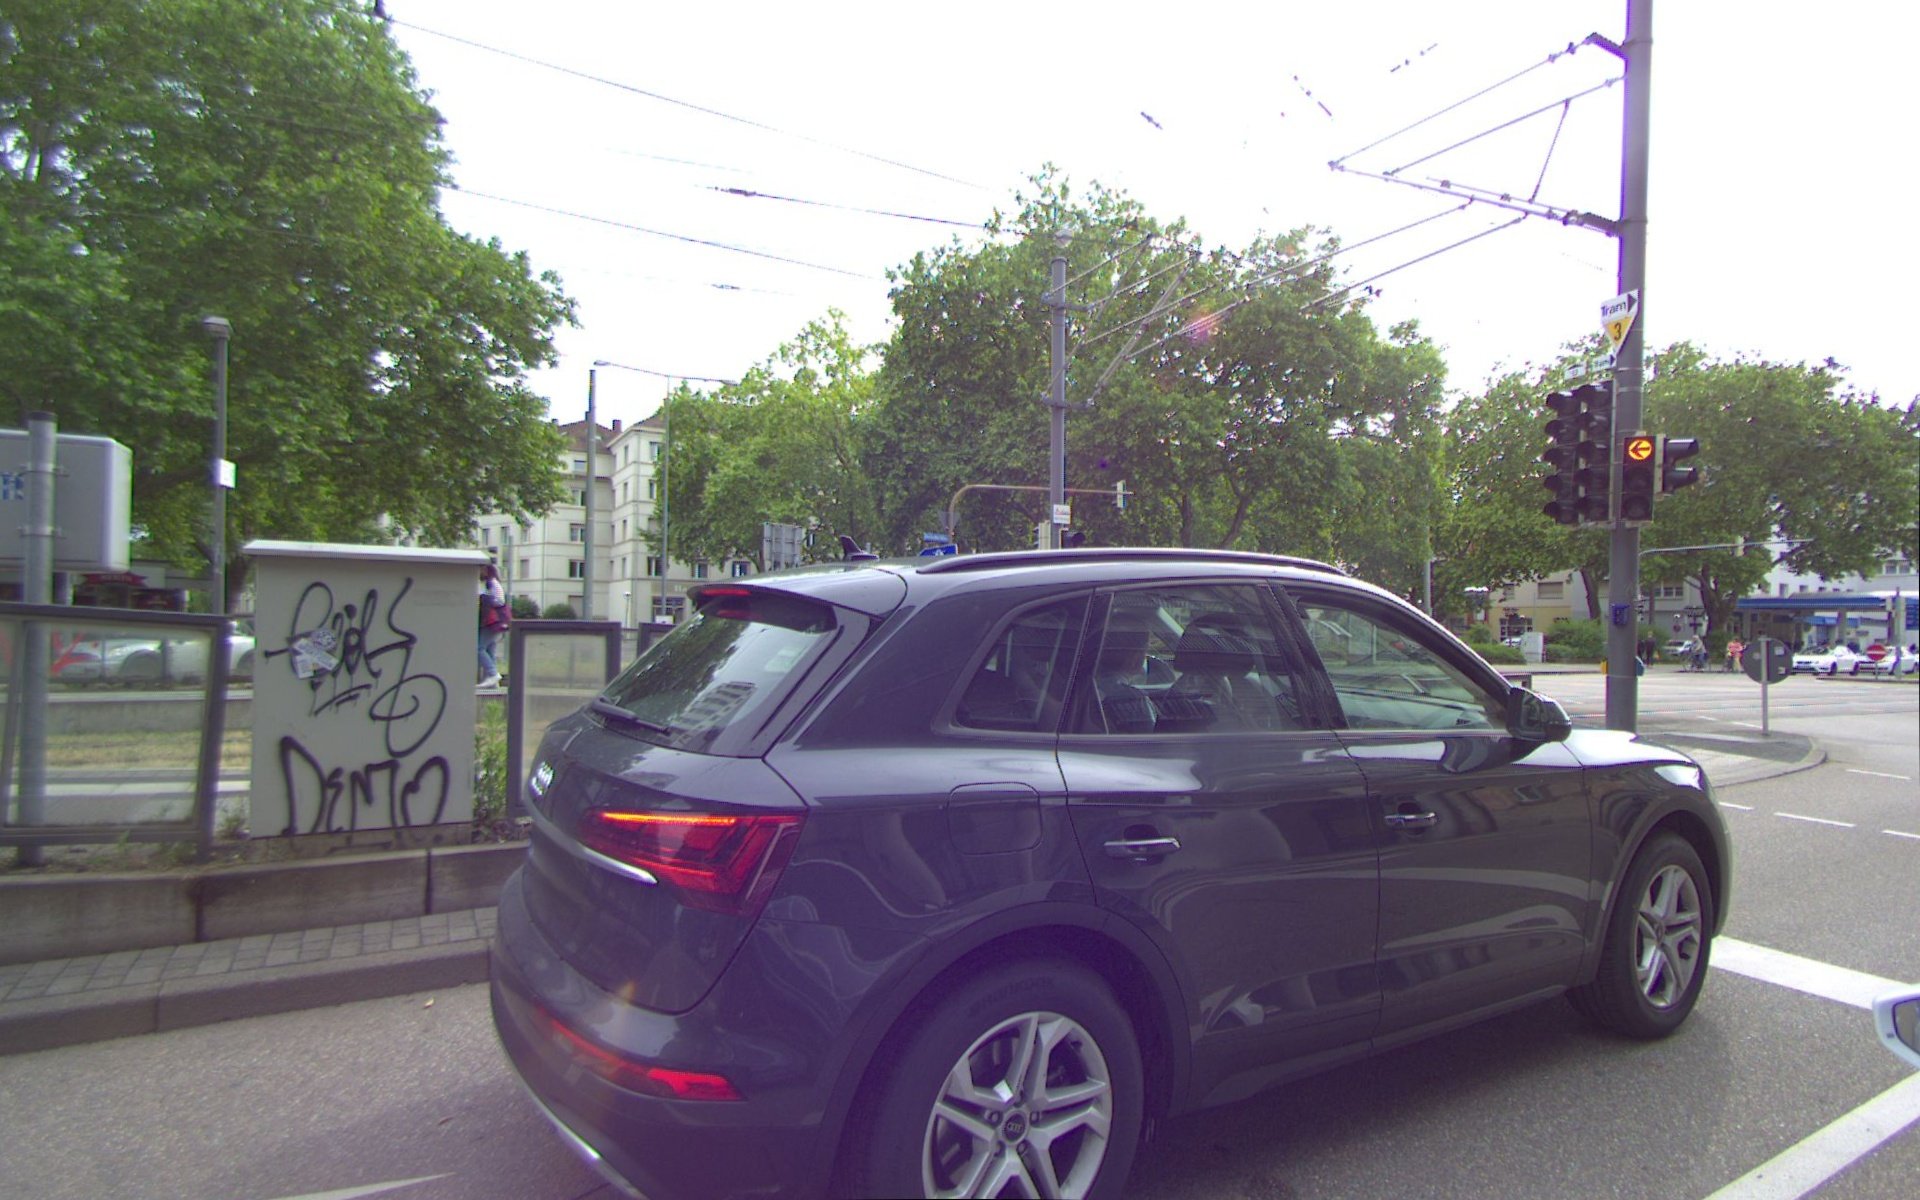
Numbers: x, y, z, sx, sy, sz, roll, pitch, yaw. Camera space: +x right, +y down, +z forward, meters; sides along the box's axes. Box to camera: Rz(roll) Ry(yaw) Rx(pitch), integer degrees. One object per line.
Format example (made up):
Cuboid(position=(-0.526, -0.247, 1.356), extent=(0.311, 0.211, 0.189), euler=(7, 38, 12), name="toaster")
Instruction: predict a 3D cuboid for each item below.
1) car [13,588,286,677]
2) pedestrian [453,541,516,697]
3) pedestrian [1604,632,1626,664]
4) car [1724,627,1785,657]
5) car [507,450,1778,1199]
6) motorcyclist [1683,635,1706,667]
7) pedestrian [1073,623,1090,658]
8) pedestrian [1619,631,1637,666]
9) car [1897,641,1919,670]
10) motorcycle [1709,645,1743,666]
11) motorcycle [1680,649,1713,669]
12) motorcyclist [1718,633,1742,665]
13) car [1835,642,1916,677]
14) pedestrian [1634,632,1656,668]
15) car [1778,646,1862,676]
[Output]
Cuboid(position=(-16.298, 0.618, 20.487), extent=(1.895, 1.572, 4.002), euler=(2, 0, 12), name="car")
Cuboid(position=(-6.283, 0.249, 13.256), extent=(0.658, 1.976, 0.732), euler=(2, 0, -30), name="pedestrian")
Cuboid(position=(35.622, 2.588, 54.597), extent=(0.732, 1.713, 0.681), euler=(2, 0, -25), name="pedestrian")
Cuboid(position=(54.946, 2.903, 69.465), extent=(3.953, 2.040, 1.984), euler=(2, -1, -30), name="car")
Cuboid(position=(0.824, 0.635, 3.457), extent=(4.177, 1.658, 1.725), euler=(2, 0, -30), name="car")
Cuboid(position=(35.804, 2.492, 48.942), extent=(0.863, 1.540, 0.617), euler=(2, -1, -30), name="motorcyclist")
Cuboid(position=(5.394, 1.787, 44.575), extent=(0.644, 1.530, 0.683), euler=(1, -1, -3), name="pedestrian")
Cuboid(position=(33.990, 2.468, 51.104), extent=(0.680, 1.735, 0.867), euler=(0, -1, 37), name="pedestrian")
Cuboid(position=(52.782, 3.045, 54.599), extent=(3.593, 1.497, 1.649), euler=(2, 0, -29), name="car")
Cuboid(position=(36.929, 2.677, 48.429), extent=(1.928, 0.941, 0.604), euler=(2, -1, -30), name="motorcycle")
Cuboid(position=(35.945, 2.871, 49.024), extent=(1.928, 0.941, 0.604), euler=(2, -1, -30), name="motorcycle")
Cuboid(position=(37.235, 2.376, 48.568), extent=(0.863, 1.540, 0.617), euler=(2, -1, -30), name="motorcyclist")
Cuboid(position=(46.978, 3.033, 51.517), extent=(3.953, 1.615, 1.984), euler=(2, 0, -30), name="car")
Cuboid(position=(34.614, 2.516, 50.745), extent=(0.861, 1.735, 0.871), euler=(0, -1, 36), name="pedestrian")
Cuboid(position=(41.393, 2.919, 48.340), extent=(4.025, 1.338, 1.739), euler=(2, 0, -29), name="car")
